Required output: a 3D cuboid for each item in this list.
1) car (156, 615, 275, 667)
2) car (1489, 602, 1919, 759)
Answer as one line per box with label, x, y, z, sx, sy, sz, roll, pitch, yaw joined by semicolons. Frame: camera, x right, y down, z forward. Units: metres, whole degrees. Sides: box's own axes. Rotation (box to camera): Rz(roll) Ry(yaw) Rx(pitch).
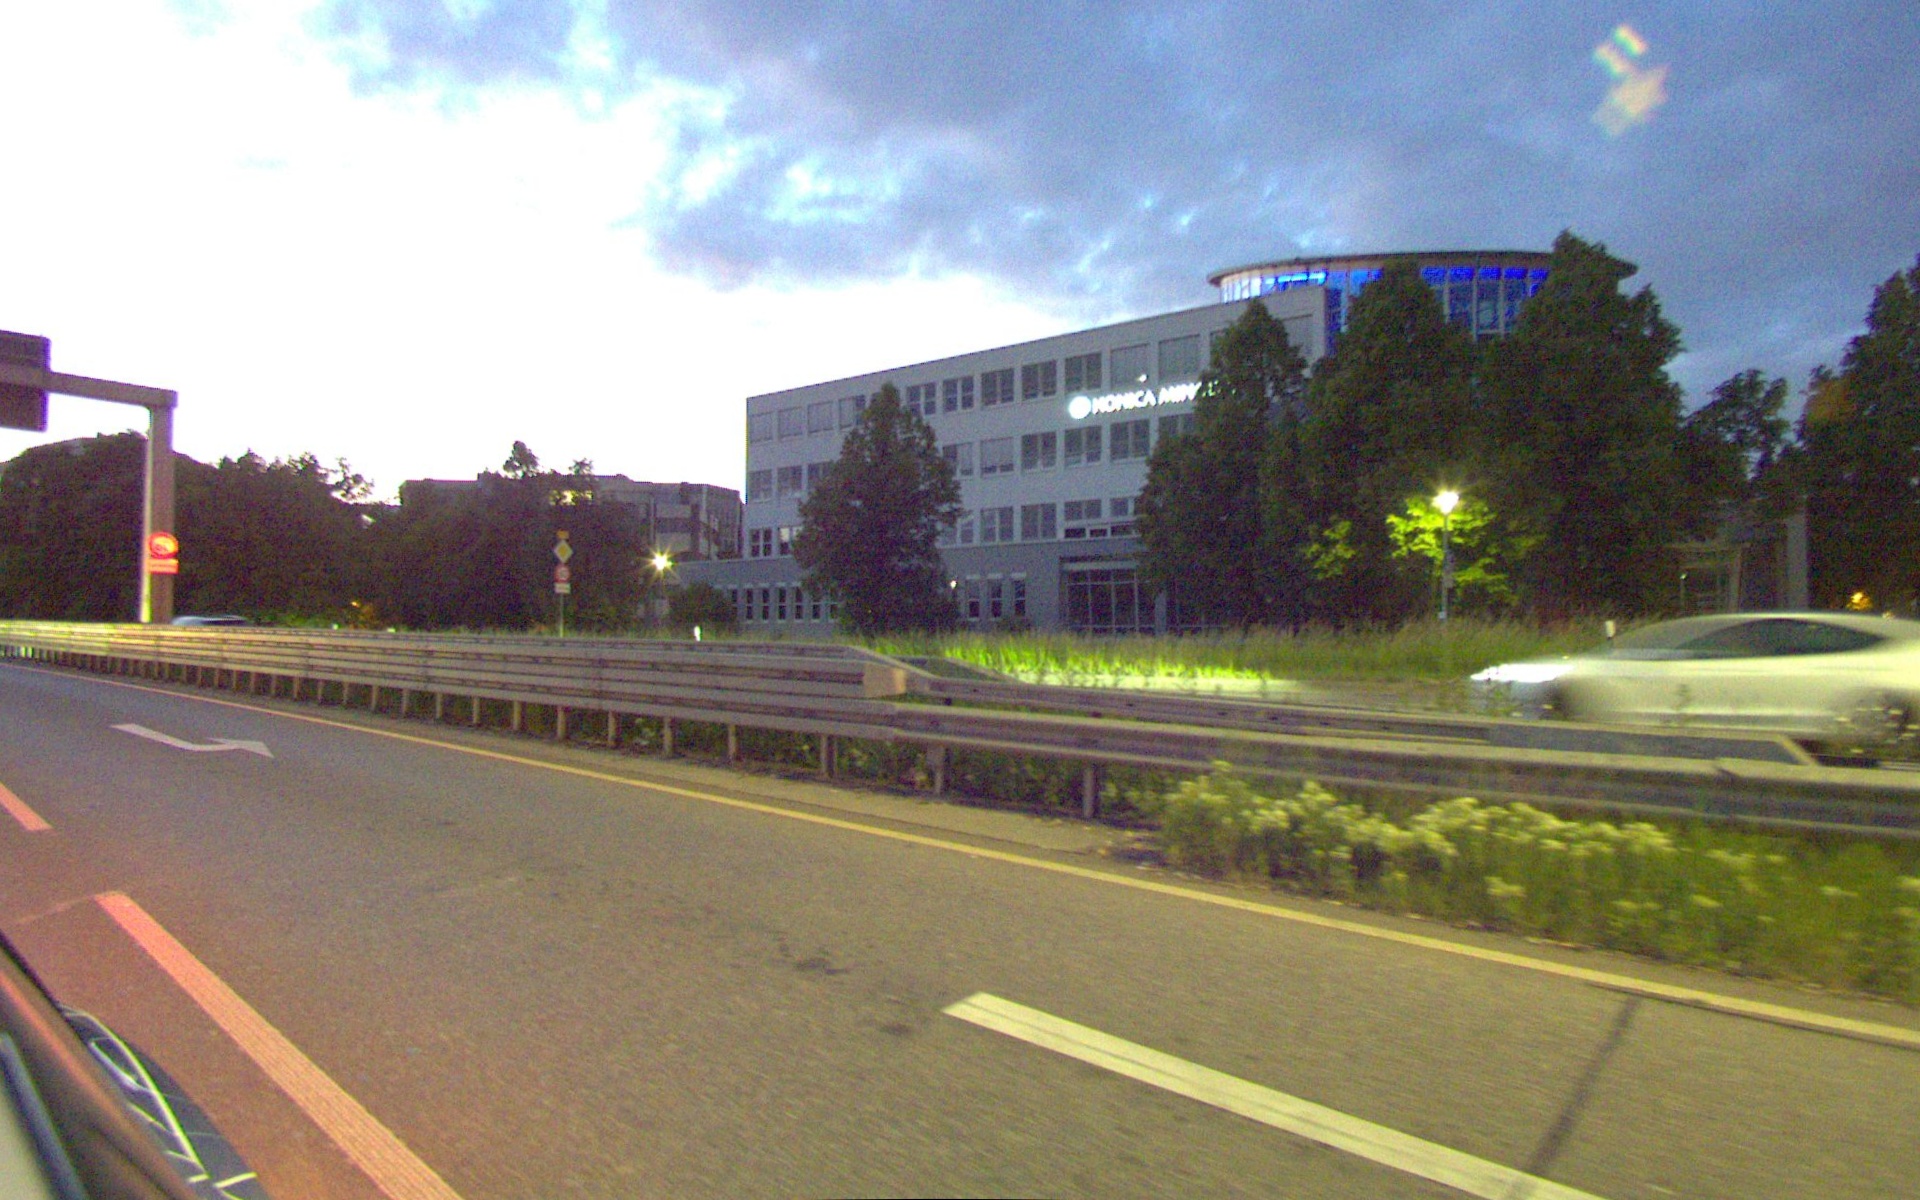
car;-23.325;1.238;31.660;4.678;1.493;1.973;-1;-1;40
car;8.436;0.775;10.891;4.529;1.436;1.973;-2;-2;41
